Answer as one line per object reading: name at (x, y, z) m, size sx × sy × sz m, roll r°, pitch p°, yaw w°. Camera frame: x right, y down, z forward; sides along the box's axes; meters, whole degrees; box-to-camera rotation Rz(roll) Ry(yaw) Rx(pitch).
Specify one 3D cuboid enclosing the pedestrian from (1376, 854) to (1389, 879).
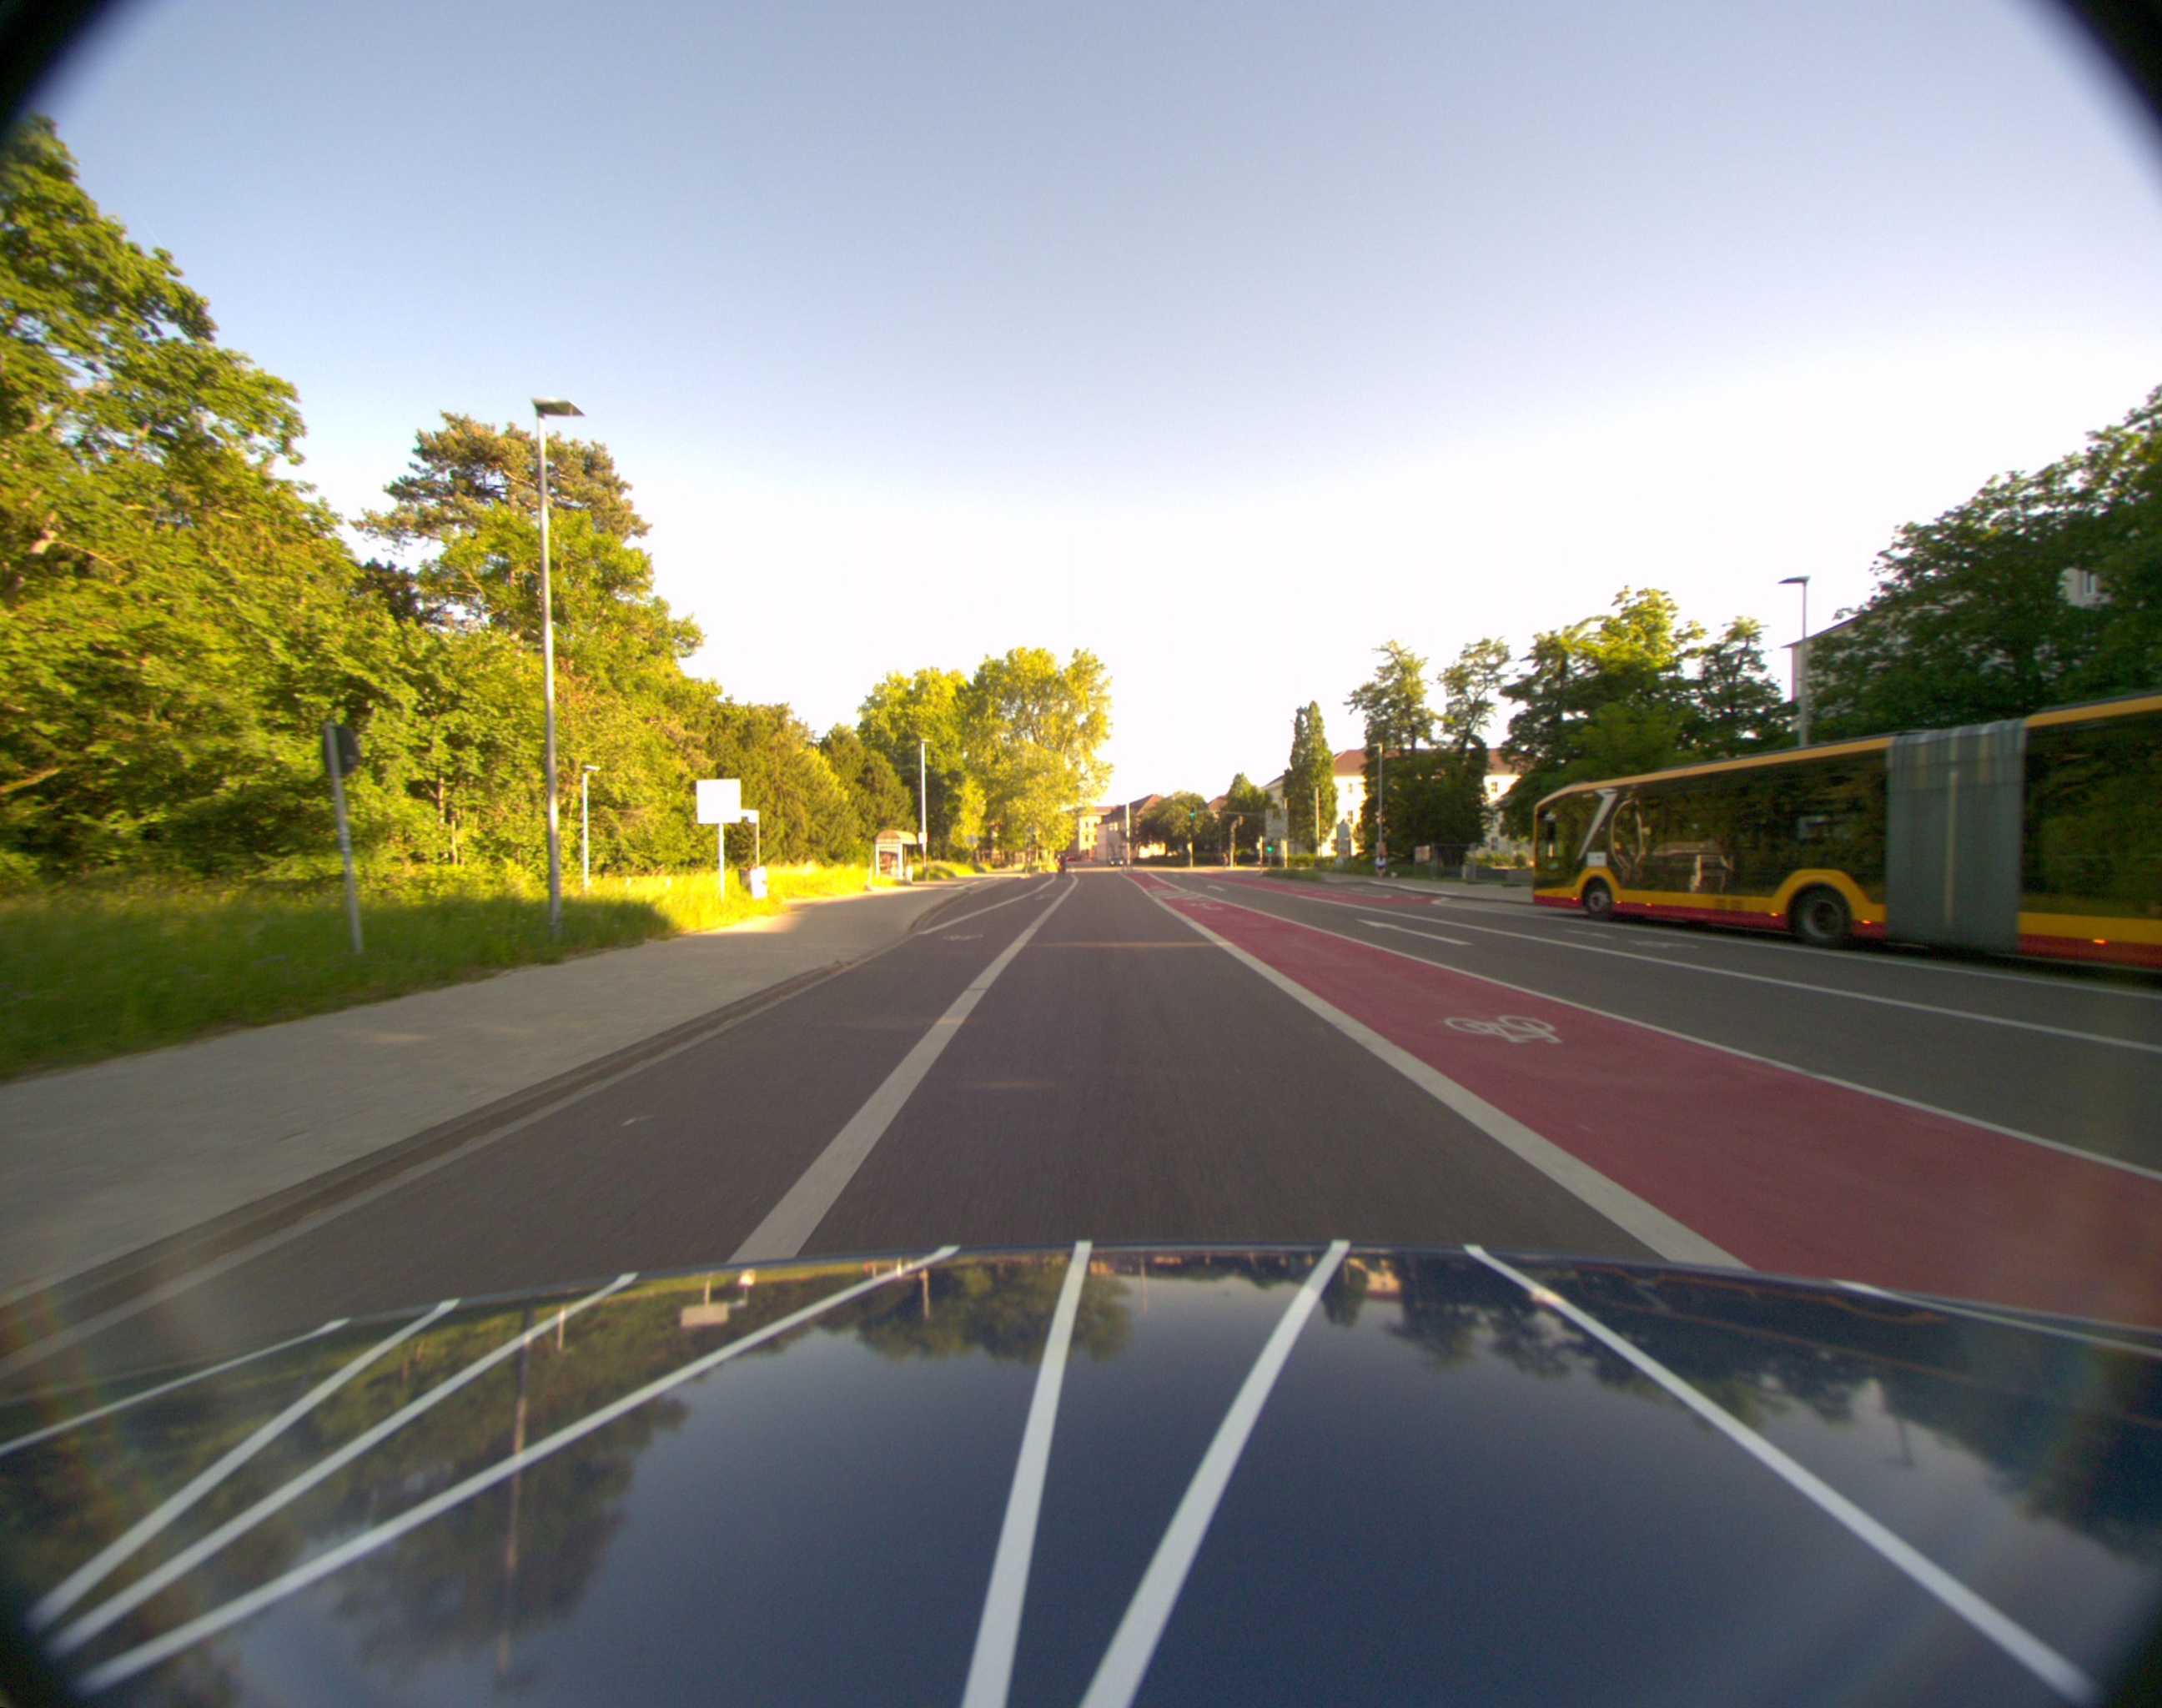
pedestrian at (18.692, 0.766, 47.116) m, size 0.452 × 1.525 × 0.571 m, roll -2°, pitch 1°, yaw -4°

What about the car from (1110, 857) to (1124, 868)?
car at (5.135, 1.198, 108.088) m, size 1.722 × 1.409 × 4.526 m, roll 0°, pitch 0°, yaw -1°

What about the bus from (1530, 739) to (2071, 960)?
bus at (12.937, -0.076, 15.293) m, size 2.847 × 3.178 × 8.599 m, roll 0°, pitch 0°, yaw 1°

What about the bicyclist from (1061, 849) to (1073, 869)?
bicyclist at (-1.002, 0.357, 55.285) m, size 0.694 × 1.482 × 0.801 m, roll 0°, pitch 1°, yaw 10°

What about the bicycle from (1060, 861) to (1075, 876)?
bicycle at (-0.992, 1.032, 55.340) m, size 0.694 × 1.089 × 2.138 m, roll 0°, pitch 0°, yaw 11°

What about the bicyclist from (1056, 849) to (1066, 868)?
bicyclist at (-1.594, 0.335, 60.353) m, size 0.695 × 1.493 × 0.892 m, roll 0°, pitch 1°, yaw -4°

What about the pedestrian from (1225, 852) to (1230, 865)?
pedestrian at (18.586, 0.584, 96.409) m, size 0.691 × 1.672 × 0.681 m, roll 0°, pitch 1°, yaw 8°

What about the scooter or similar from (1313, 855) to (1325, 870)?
scooter or similar at (20.986, 0.779, 66.981) m, size 0.693 × 1.286 × 1.499 m, roll 0°, pitch 1°, yaw 29°

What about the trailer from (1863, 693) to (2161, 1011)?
trailer at (12.689, -0.056, 6.317) m, size 2.861 × 3.336 × 9.362 m, roll -2°, pitch 1°, yaw 2°

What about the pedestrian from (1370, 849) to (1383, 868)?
pedestrian at (26.982, 0.433, 69.467) m, size 0.979 × 1.686 × 0.643 m, roll 0°, pitch 1°, yaw 4°

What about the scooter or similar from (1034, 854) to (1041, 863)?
scooter or similar at (-6.160, 0.674, 107.596) m, size 0.794 × 1.248 × 1.836 m, roll 4°, pitch 0°, yaw 0°

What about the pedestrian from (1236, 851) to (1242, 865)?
pedestrian at (20.274, 0.475, 97.549) m, size 0.744 × 1.805 × 0.727 m, roll 0°, pitch 1°, yaw 8°

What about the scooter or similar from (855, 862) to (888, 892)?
scooter or similar at (-9.142, 0.994, 33.211) m, size 0.722 × 1.240 × 1.330 m, roll 0°, pitch 0°, yaw 23°

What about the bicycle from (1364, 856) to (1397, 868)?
bicycle at (27.165, 0.712, 69.002) m, size 2.576 × 1.129 × 0.980 m, roll 0°, pitch 1°, yaw 4°
